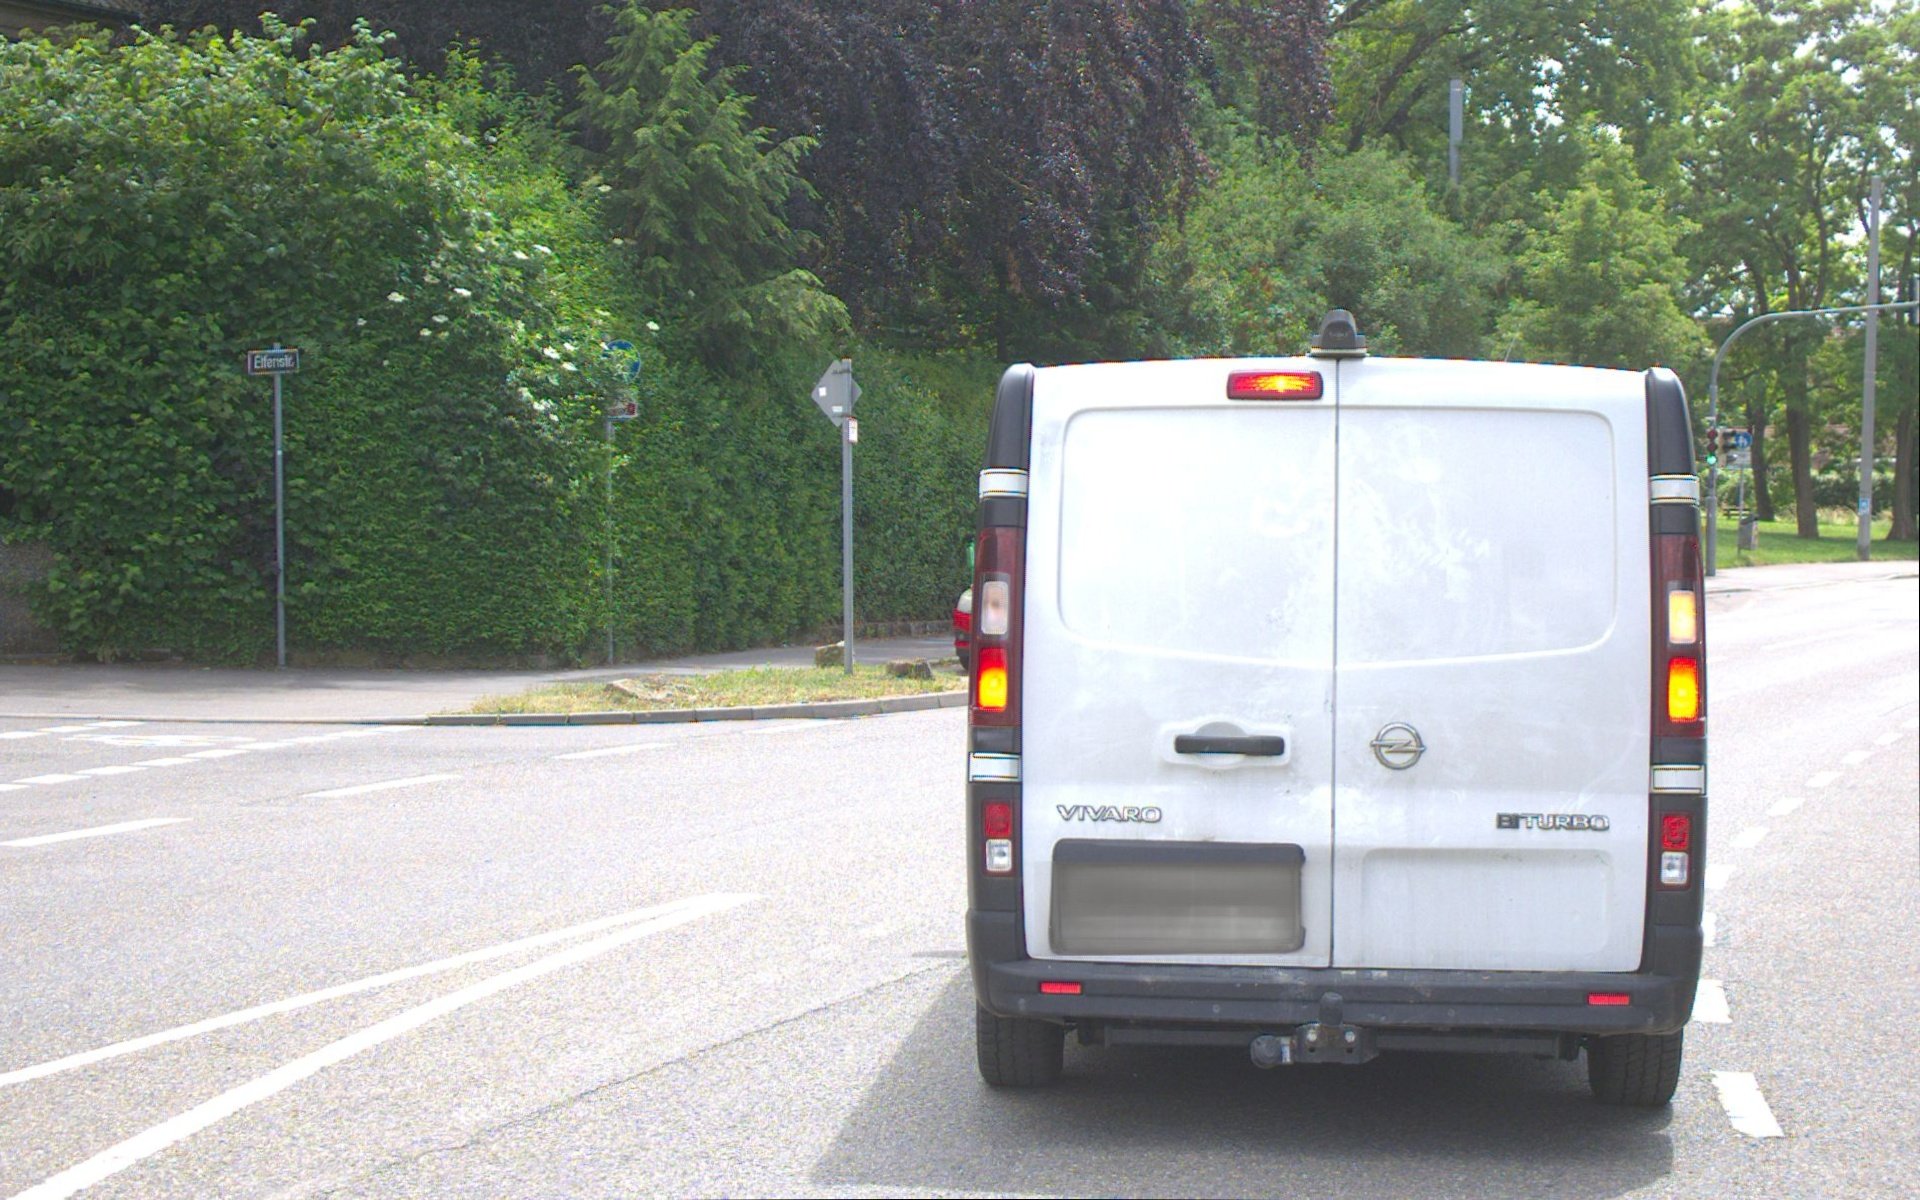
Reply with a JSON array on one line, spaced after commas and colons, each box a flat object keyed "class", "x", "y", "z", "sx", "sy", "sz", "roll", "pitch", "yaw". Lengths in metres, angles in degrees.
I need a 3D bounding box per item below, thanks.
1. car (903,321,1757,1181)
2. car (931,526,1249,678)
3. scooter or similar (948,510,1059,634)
[{"class": "car", "x": 1.157, "y": 0.288, "z": 10.520, "sx": 1.939, "sy": 1.954, "sz": 4.832, "roll": 2, "pitch": 2, "yaw": 7}, {"class": "car", "x": 1.392, "y": -0.035, "z": 34.713, "sx": 1.662, "sy": 1.373, "sz": 4.561, "roll": 2, "pitch": 2, "yaw": 23}, {"class": "scooter or similar", "x": 0.522, "y": -0.342, "z": 40.447, "sx": 0.671, "sy": 1.407, "sz": 1.647, "roll": 2, "pitch": 2, "yaw": 24}]
